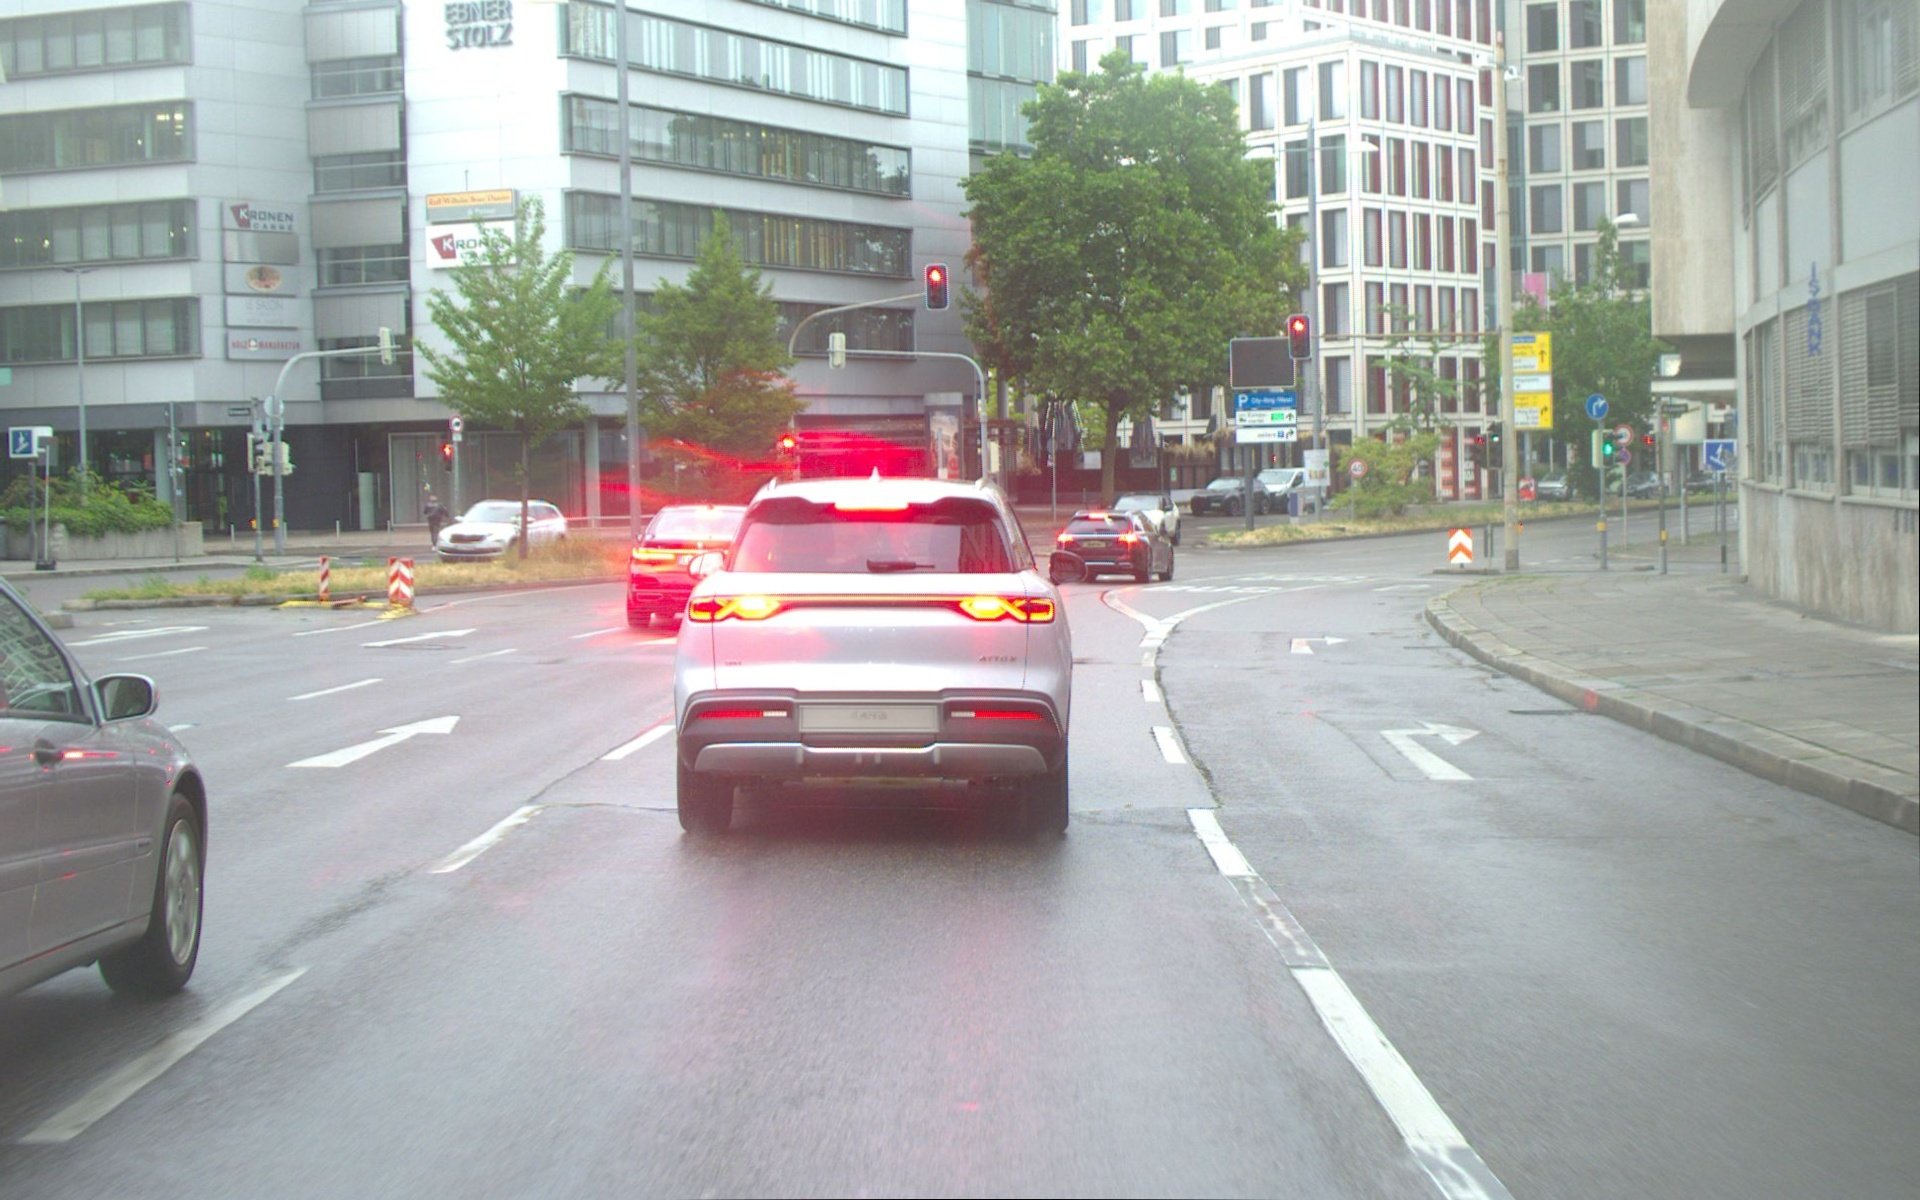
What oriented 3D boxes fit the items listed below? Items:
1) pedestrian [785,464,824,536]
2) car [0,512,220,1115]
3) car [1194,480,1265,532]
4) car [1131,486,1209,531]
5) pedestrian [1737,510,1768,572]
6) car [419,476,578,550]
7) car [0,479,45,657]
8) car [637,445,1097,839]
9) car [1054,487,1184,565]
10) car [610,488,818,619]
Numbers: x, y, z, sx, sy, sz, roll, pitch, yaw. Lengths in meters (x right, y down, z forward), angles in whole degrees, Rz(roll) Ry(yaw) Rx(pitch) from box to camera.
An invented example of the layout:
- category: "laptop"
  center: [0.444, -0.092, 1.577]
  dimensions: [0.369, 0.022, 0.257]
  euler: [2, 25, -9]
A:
- category: "pedestrian"
  center: [-3.768, -2.435, 83.416]
  dimensions: [0.922, 1.732, 0.730]
  euler: [0, 1, -1]
- category: "car"
  center: [-3.204, 0.522, 8.811]
  dimensions: [1.682, 1.481, 4.197]
  euler: [0, 1, 0]
- category: "car"
  center: [11.424, -3.967, 145.505]
  dimensions: [1.739, 2.154, 4.489]
  euler: [1, 1, 22]
- category: "car"
  center: [8.335, -3.619, 135.843]
  dimensions: [1.739, 1.722, 4.489]
  euler: [1, 1, 22]
- category: "pedestrian"
  center: [21.133, -1.567, 91.651]
  dimensions: [0.728, 1.663, 0.690]
  euler: [0, 0, 19]
- category: "car"
  center: [-11.217, -2.109, 83.810]
  dimensions: [1.739, 1.722, 4.488]
  euler: [1, 1, 24]
- category: "car"
  center: [-9.295, -0.248, 28.710]
  dimensions: [1.993, 1.538, 4.483]
  euler: [0, 1, 2]
- category: "car"
  center: [-0.396, 0.130, 17.218]
  dimensions: [1.993, 1.703, 4.483]
  euler: [0, 1, 0]
- category: "car"
  center: [3.265, -1.511, 70.020]
  dimensions: [1.956, 1.525, 3.998]
  euler: [0, 1, 13]
- category: "car"
  center: [-2.962, -0.593, 42.161]
  dimensions: [1.955, 1.525, 4.000]
  euler: [0, 1, 5]
